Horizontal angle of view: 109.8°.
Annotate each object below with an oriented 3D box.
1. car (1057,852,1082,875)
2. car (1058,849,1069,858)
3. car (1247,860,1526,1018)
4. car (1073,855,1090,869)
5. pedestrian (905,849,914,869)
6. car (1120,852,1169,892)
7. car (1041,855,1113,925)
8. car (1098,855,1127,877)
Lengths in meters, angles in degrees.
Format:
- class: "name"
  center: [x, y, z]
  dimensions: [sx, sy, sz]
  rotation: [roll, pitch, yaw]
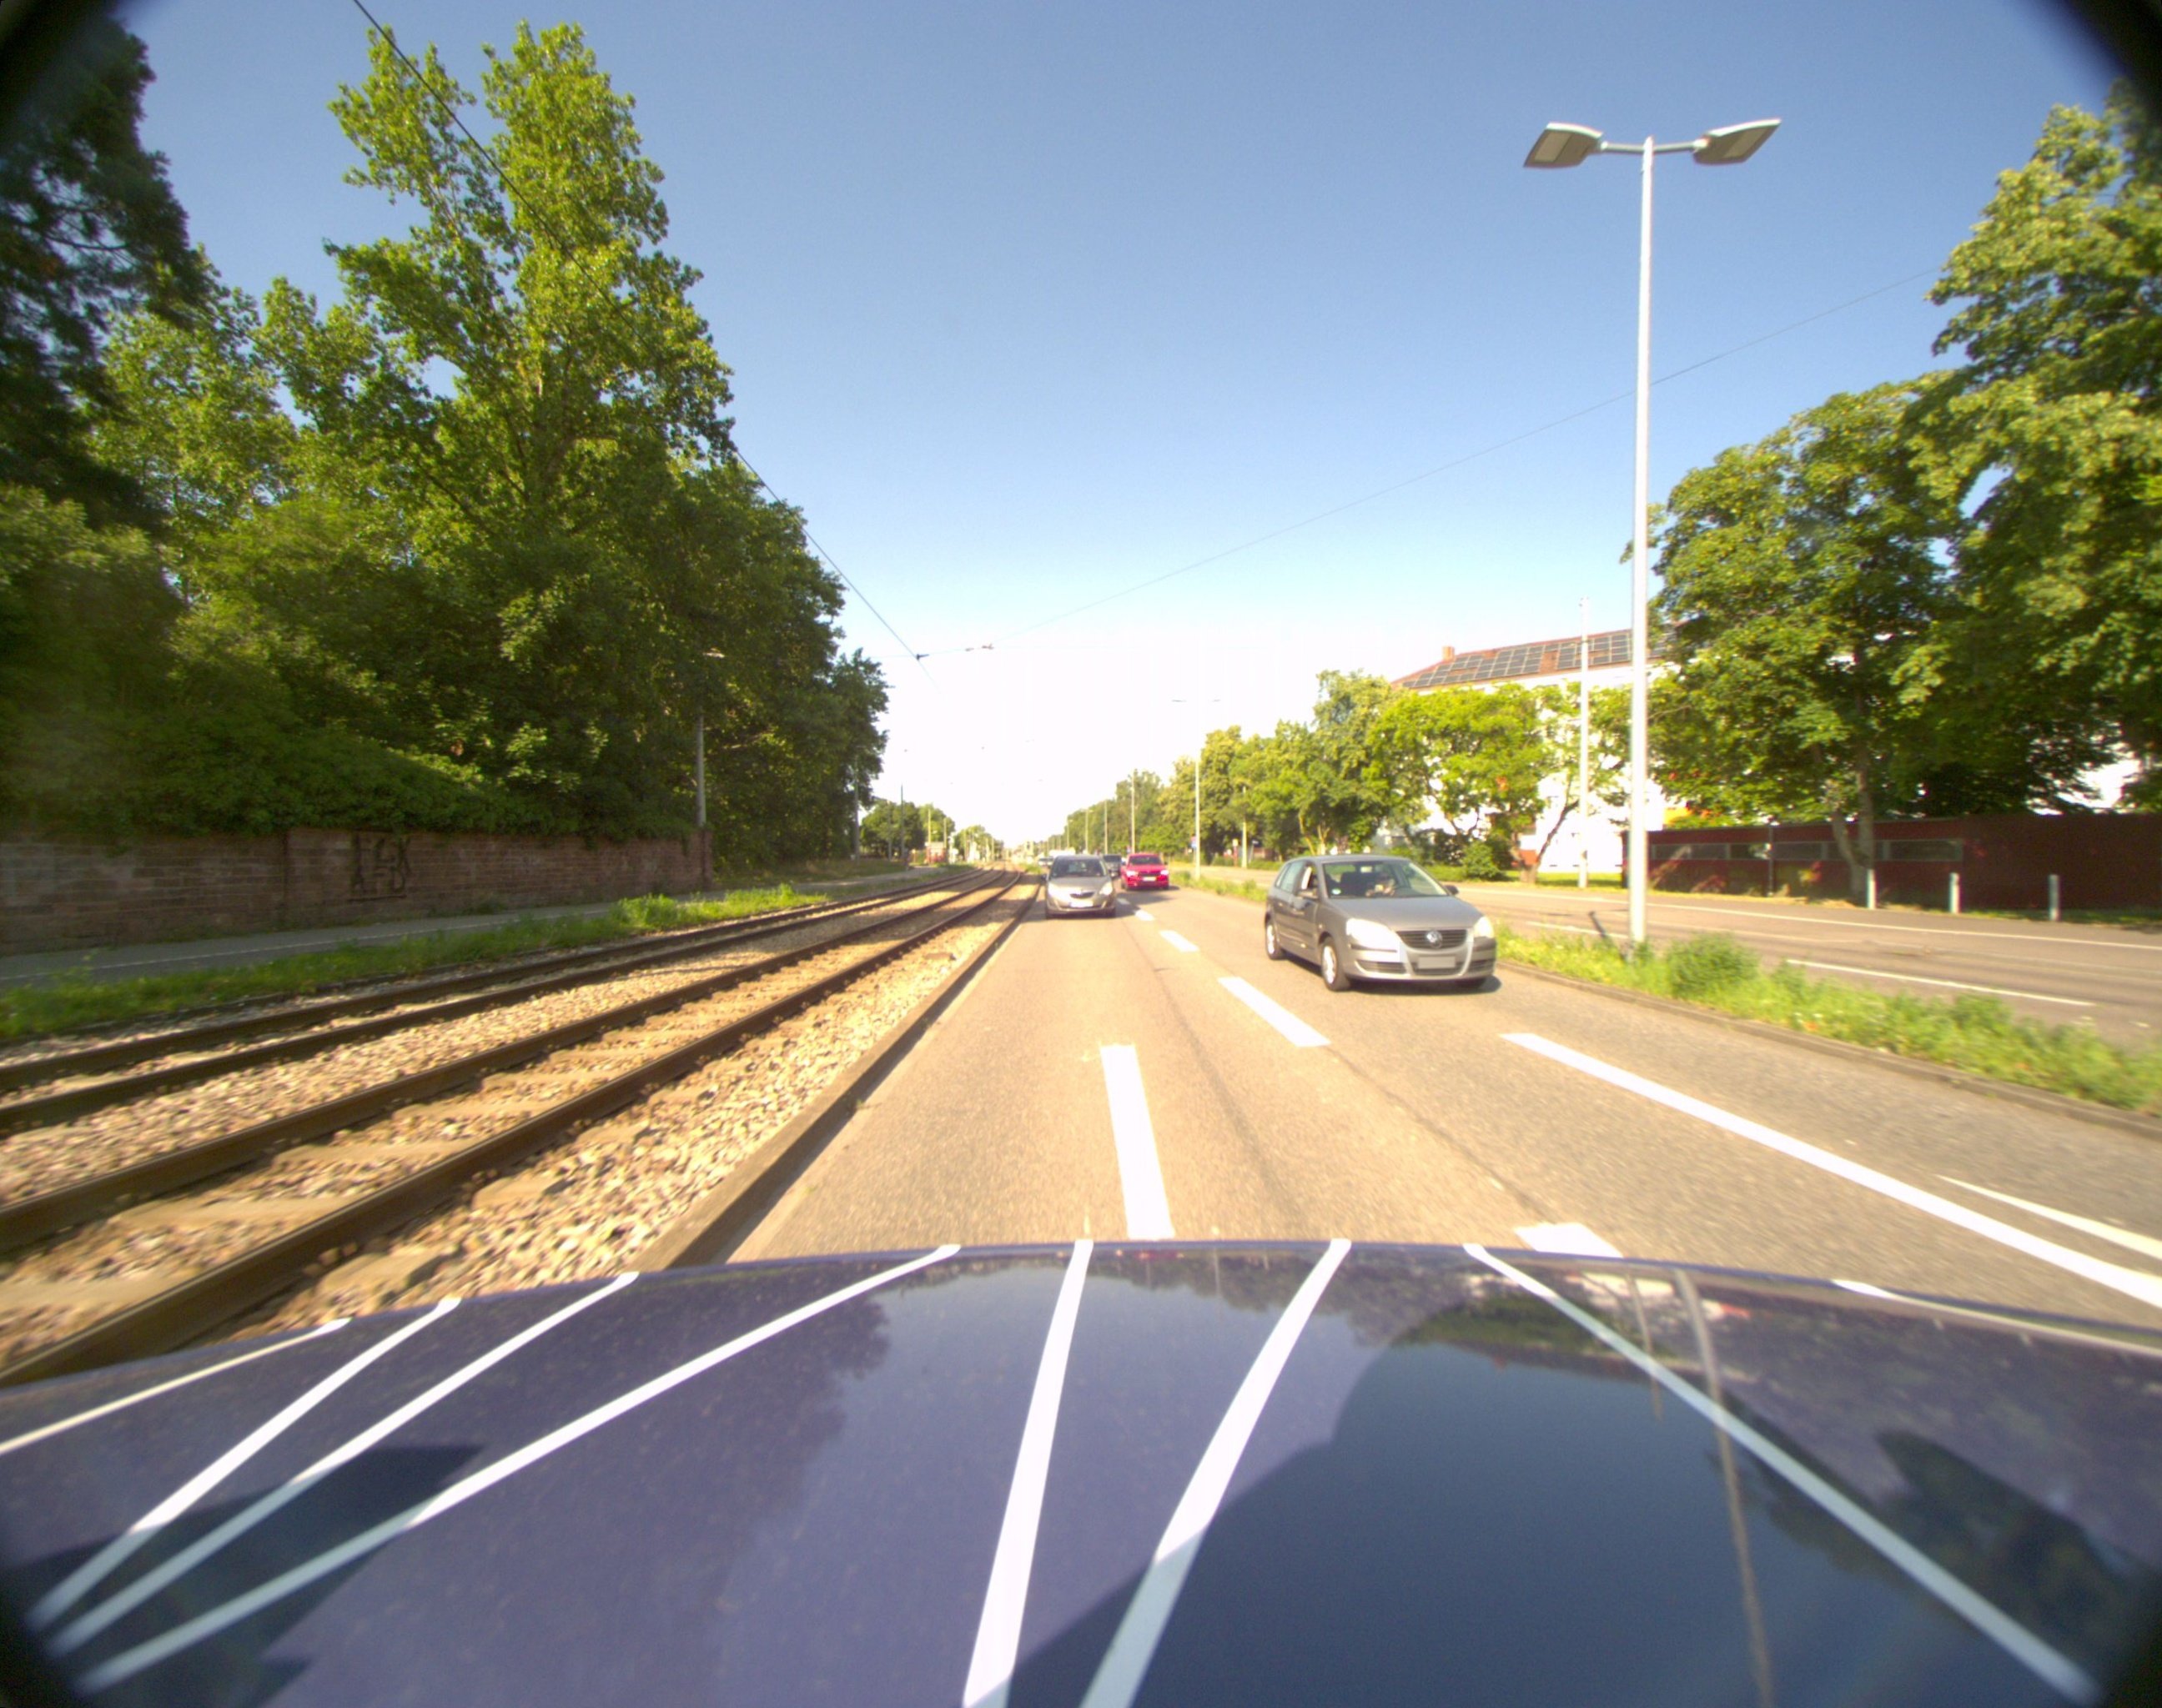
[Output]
- class: "car"
  center: [-0.841, 0.670, 55.775]
  dimensions: [1.710, 1.513, 3.832]
  rotation: [-2, 0, -2]
- class: "car"
  center: [-3.085, -0.026, 133.342]
  dimensions: [1.710, 1.513, 3.831]
  rotation: [-2, 0, -4]
- class: "car"
  center: [3.347, 0.823, 9.180]
  dimensions: [1.693, 1.420, 3.832]
  rotation: [-2, 0, -2]
- class: "car"
  center: [0.071, 0.914, 93.949]
  dimensions: [1.774, 1.669, 4.047]
  rotation: [0, 0, -4]
- class: "pedestrian"
  center: [-14.897, 0.445, 65.940]
  dimensions: [0.501, 1.706, 0.885]
  rotation: [0, 1, 3]
- class: "car"
  center: [2.721, 0.740, 33.179]
  dimensions: [1.693, 1.573, 3.832]
  rotation: [-2, 0, -1]
- class: "car"
  center: [-0.053, 0.839, 19.746]
  dimensions: [1.650, 1.581, 3.833]
  rotation: [-2, 0, 1]
- class: "car"
  center: [2.334, 0.837, 56.481]
  dimensions: [1.710, 1.513, 3.831]
  rotation: [-2, 0, -4]
